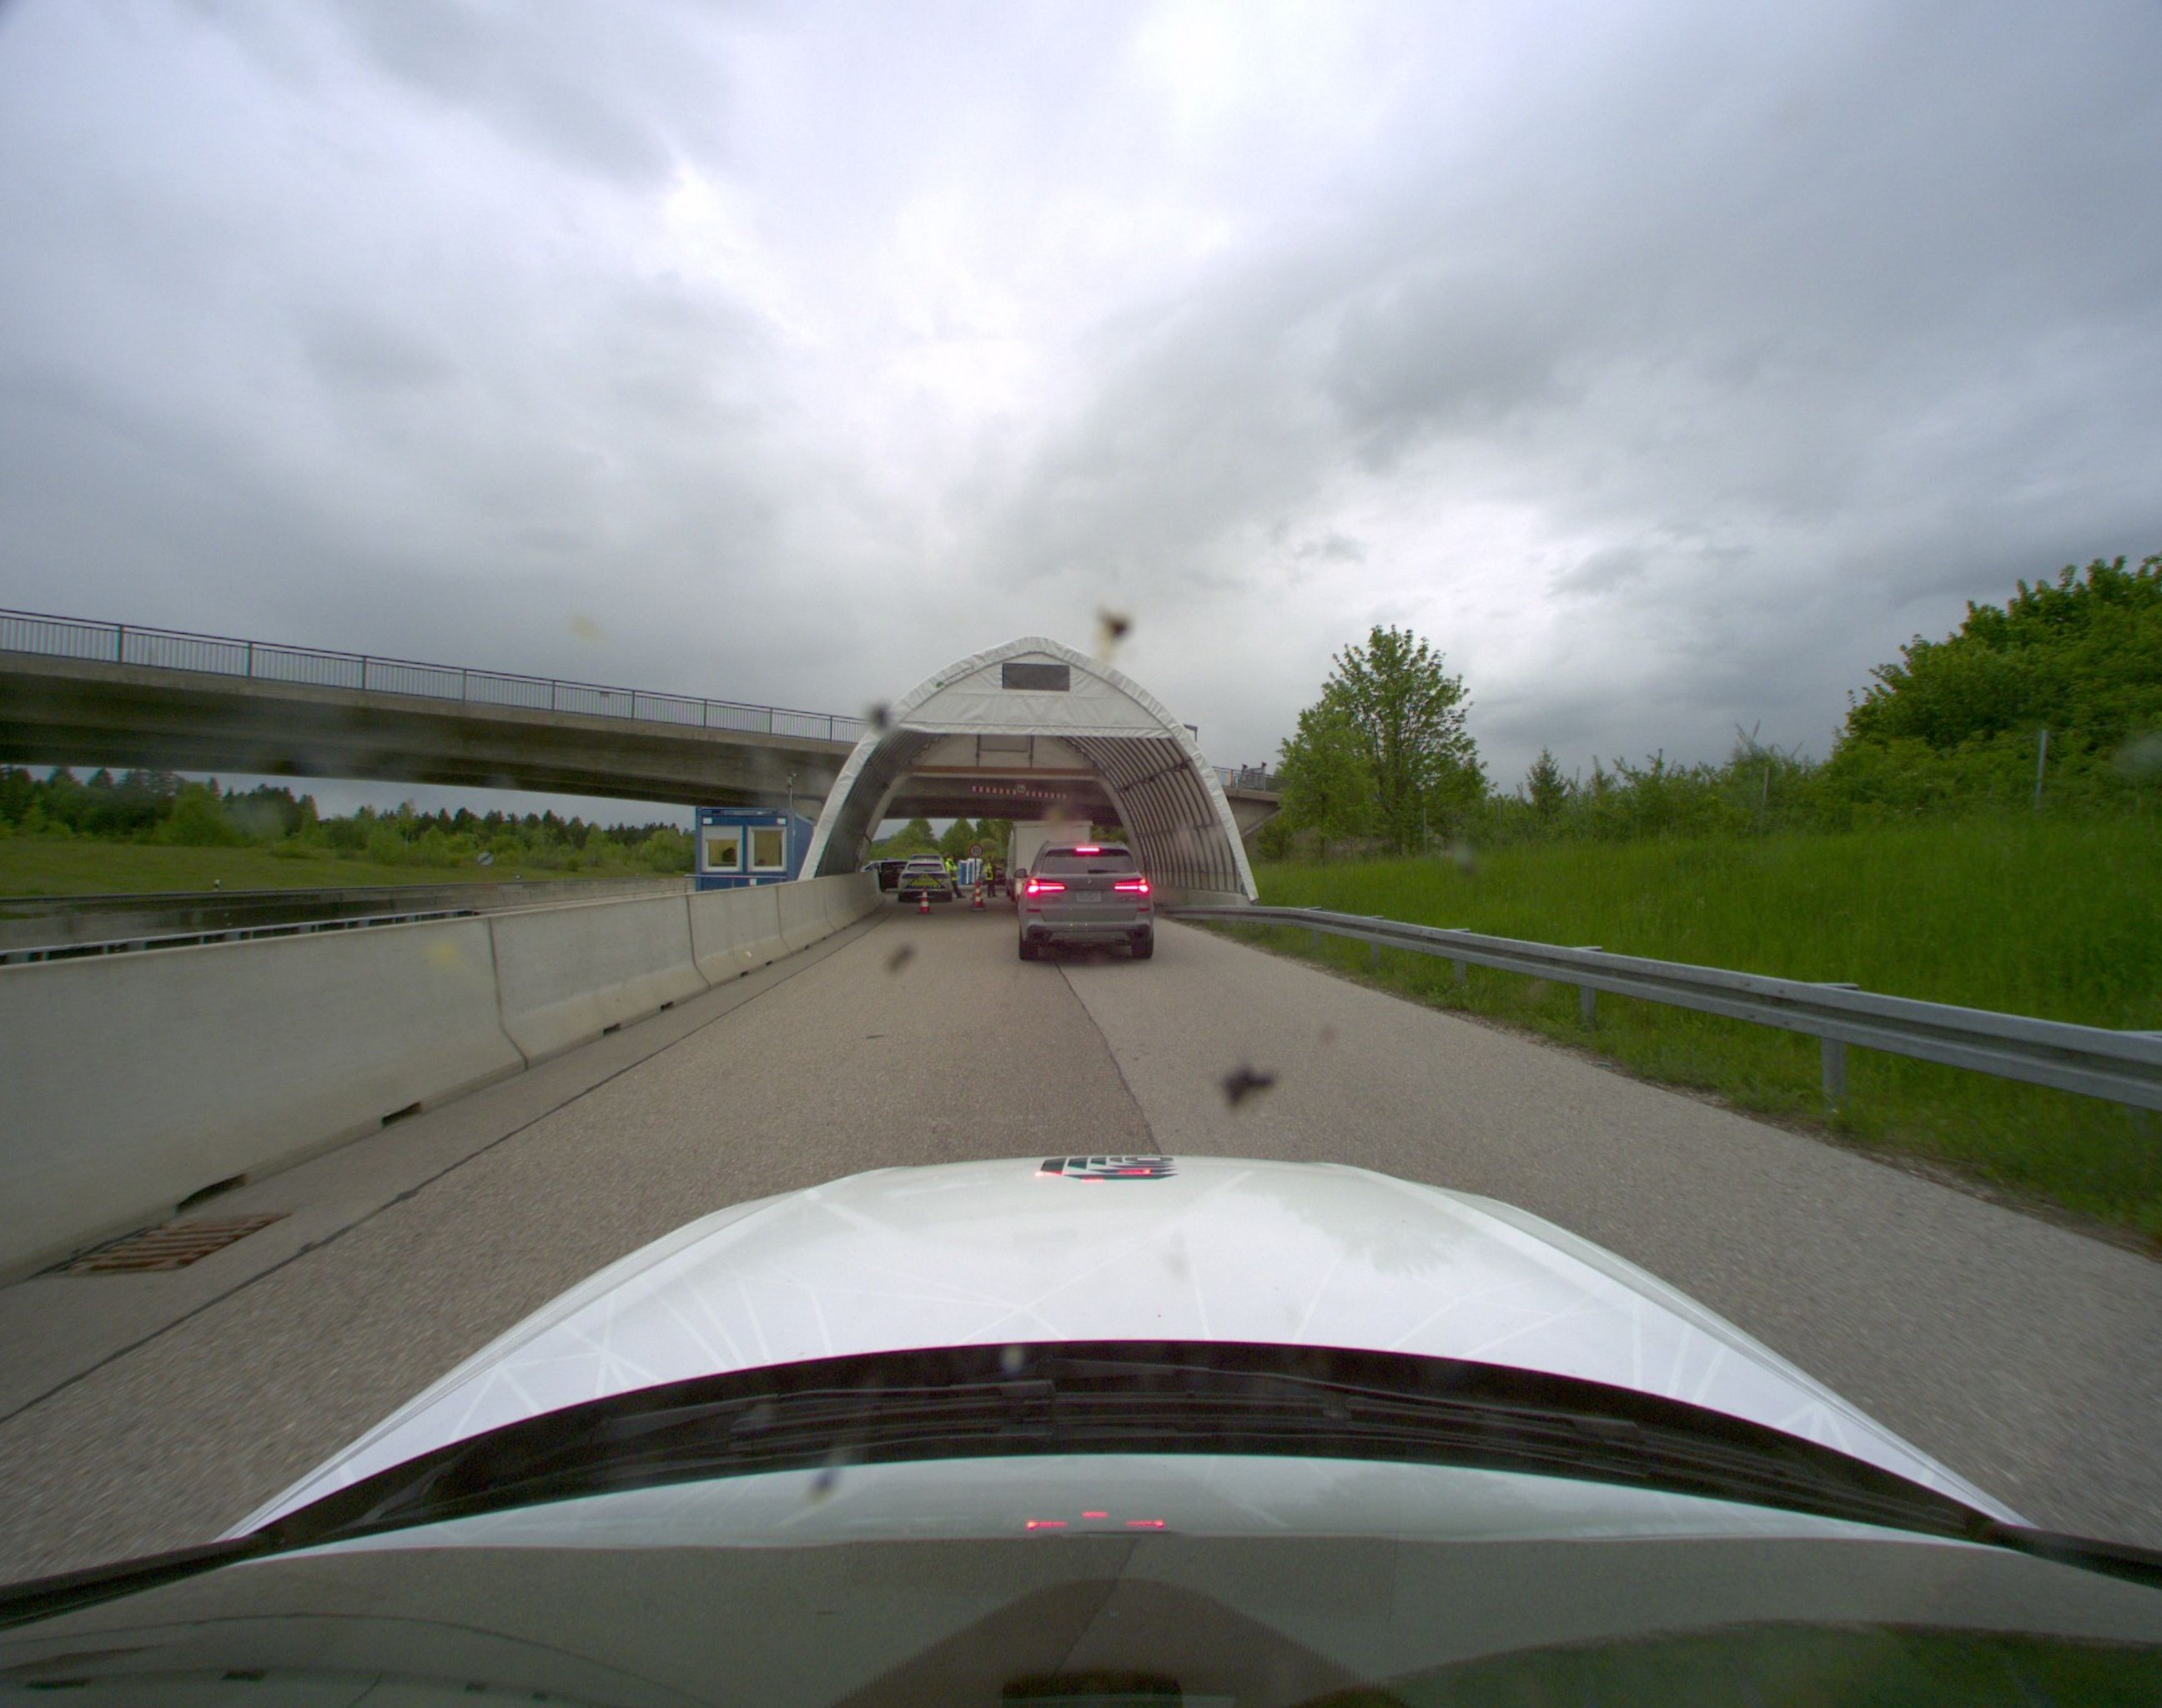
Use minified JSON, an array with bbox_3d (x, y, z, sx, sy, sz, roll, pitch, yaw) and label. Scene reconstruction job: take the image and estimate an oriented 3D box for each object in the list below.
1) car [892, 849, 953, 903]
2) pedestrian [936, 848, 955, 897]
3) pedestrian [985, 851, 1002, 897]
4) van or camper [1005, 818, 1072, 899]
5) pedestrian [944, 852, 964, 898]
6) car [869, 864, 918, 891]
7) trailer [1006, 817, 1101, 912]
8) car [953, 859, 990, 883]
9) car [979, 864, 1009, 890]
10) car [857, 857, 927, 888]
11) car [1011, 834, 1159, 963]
[{"bbox_3d":[-5.726,0.774,29.799,1.993,1.772,3.753,-1,-1,-9],"label":"car"},{"bbox_3d":[-5.506,0.756,33.180,0.720,1.945,0.688,-1,-1,-9],"label":"pedestrian"},{"bbox_3d":[-3.497,0.795,32.437,0.604,1.775,0.648,-1,-1,-9],"label":"pedestrian"},{"bbox_3d":[-1.733,0.223,31.010,2.155,2.764,5.856,-1,-1,-7],"label":"van or camper"},{"bbox_3d":[-5.017,0.809,32.199,0.720,1.775,0.688,-1,-1,-9],"label":"pedestrian"},{"bbox_3d":[-10.474,1.284,45.415,1.526,1.442,3.280,-1,-1,-34],"label":"car"},{"bbox_3d":[-1.021,0.349,24.571,2.277,2.431,6.800,-1,-1,-7],"label":"trailer"},{"bbox_3d":[-9.611,1.488,71.222,2.005,2.014,3.963,-1,-1,-28],"label":"car"},{"bbox_3d":[-6.591,1.673,61.461,1.706,1.854,3.981,-1,-1,-14],"label":"car"},{"bbox_3d":[-12.117,1.188,52.400,3.966,1.854,1.712,-2,-1,6],"label":"car"},{"bbox_3d":[0.016,0.637,13.064,1.988,1.720,3.997,-1,-1,-1],"label":"car"}]
